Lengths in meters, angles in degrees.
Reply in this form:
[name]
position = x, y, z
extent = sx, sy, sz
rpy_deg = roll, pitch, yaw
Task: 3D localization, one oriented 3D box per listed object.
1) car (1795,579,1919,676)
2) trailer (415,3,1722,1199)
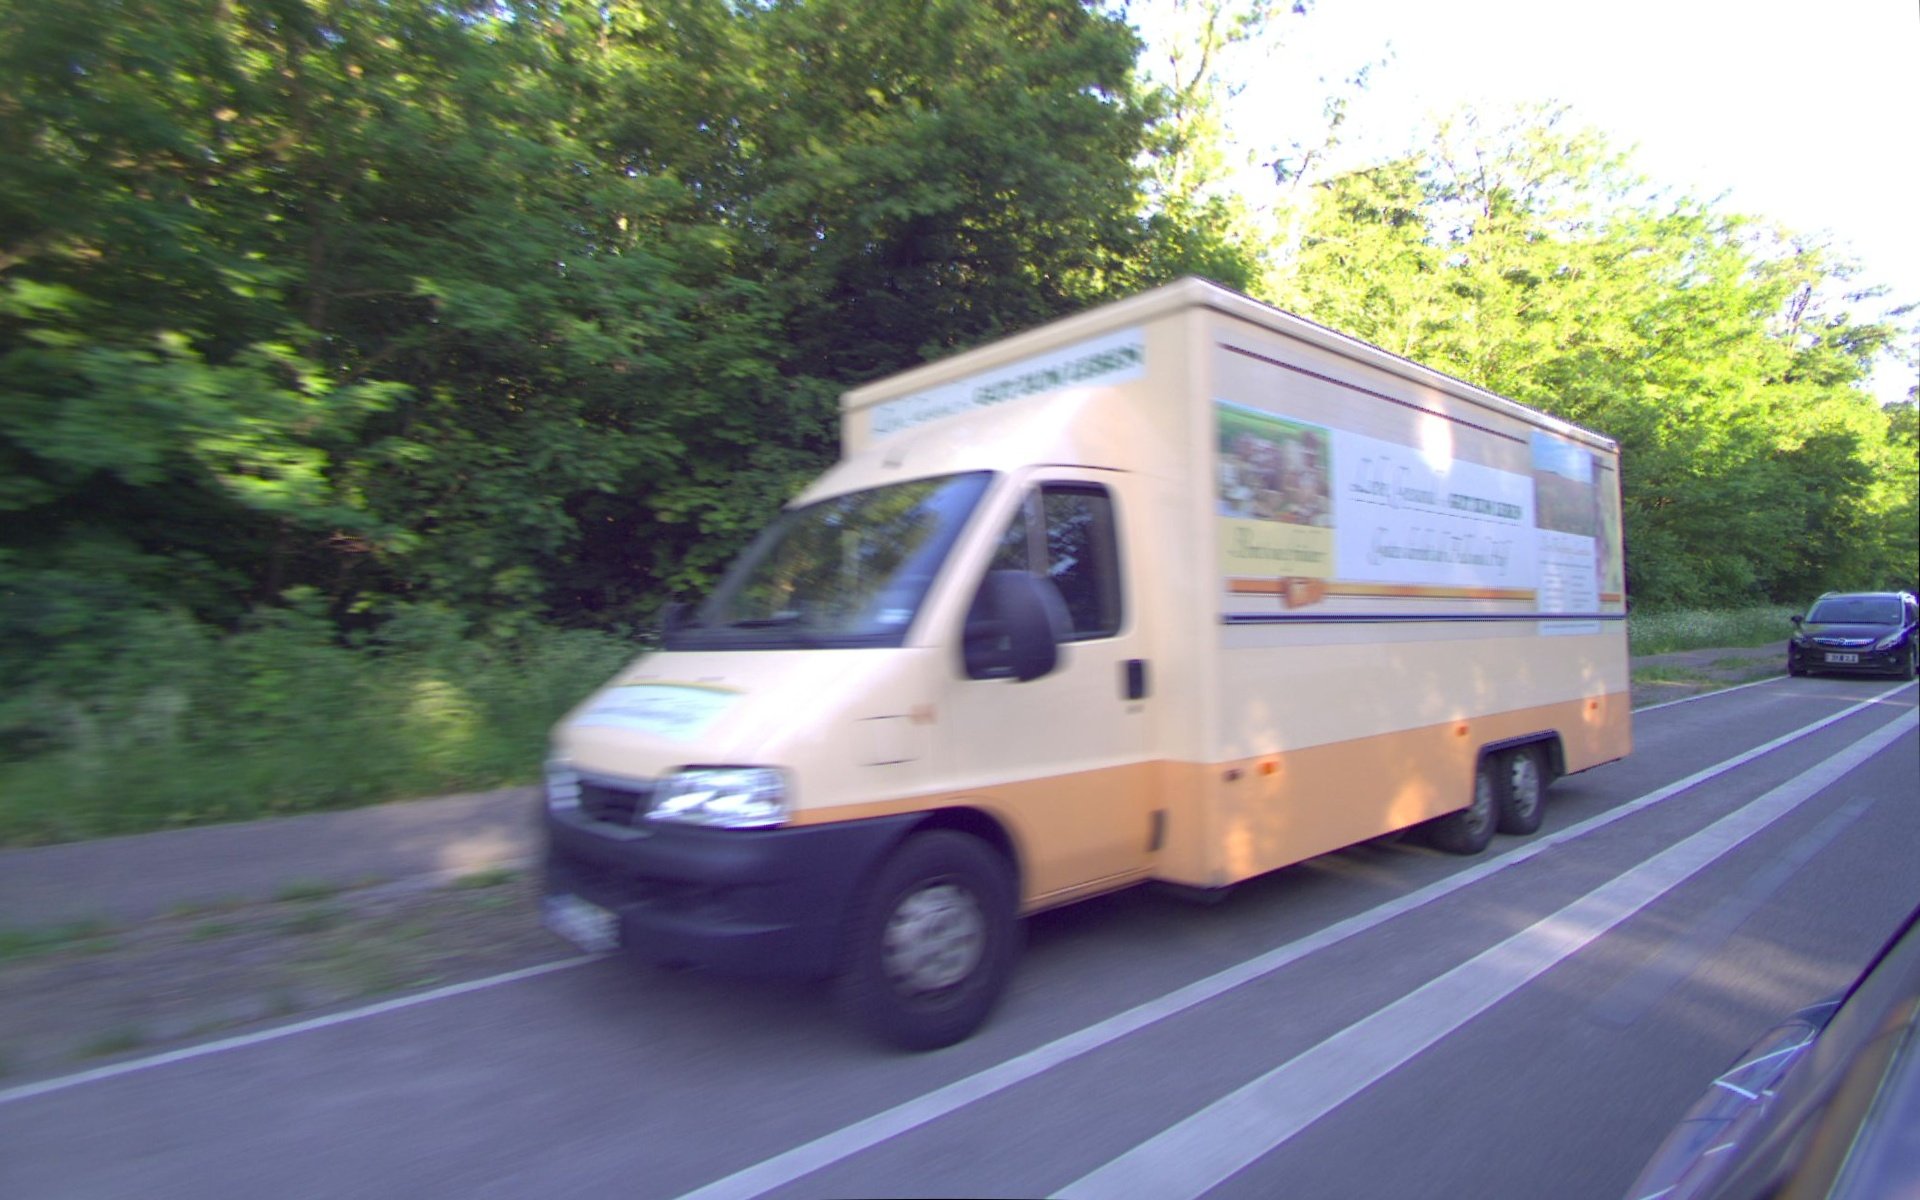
[car]
position = 18.058, 0.440, 19.918
extent = 4.522, 1.711, 1.803
rpy_deg = -1, 1, -41
[trailer]
position = 2.094, -0.042, 6.773
extent = 9.714, 2.877, 2.925
rpy_deg = -1, -1, -42
